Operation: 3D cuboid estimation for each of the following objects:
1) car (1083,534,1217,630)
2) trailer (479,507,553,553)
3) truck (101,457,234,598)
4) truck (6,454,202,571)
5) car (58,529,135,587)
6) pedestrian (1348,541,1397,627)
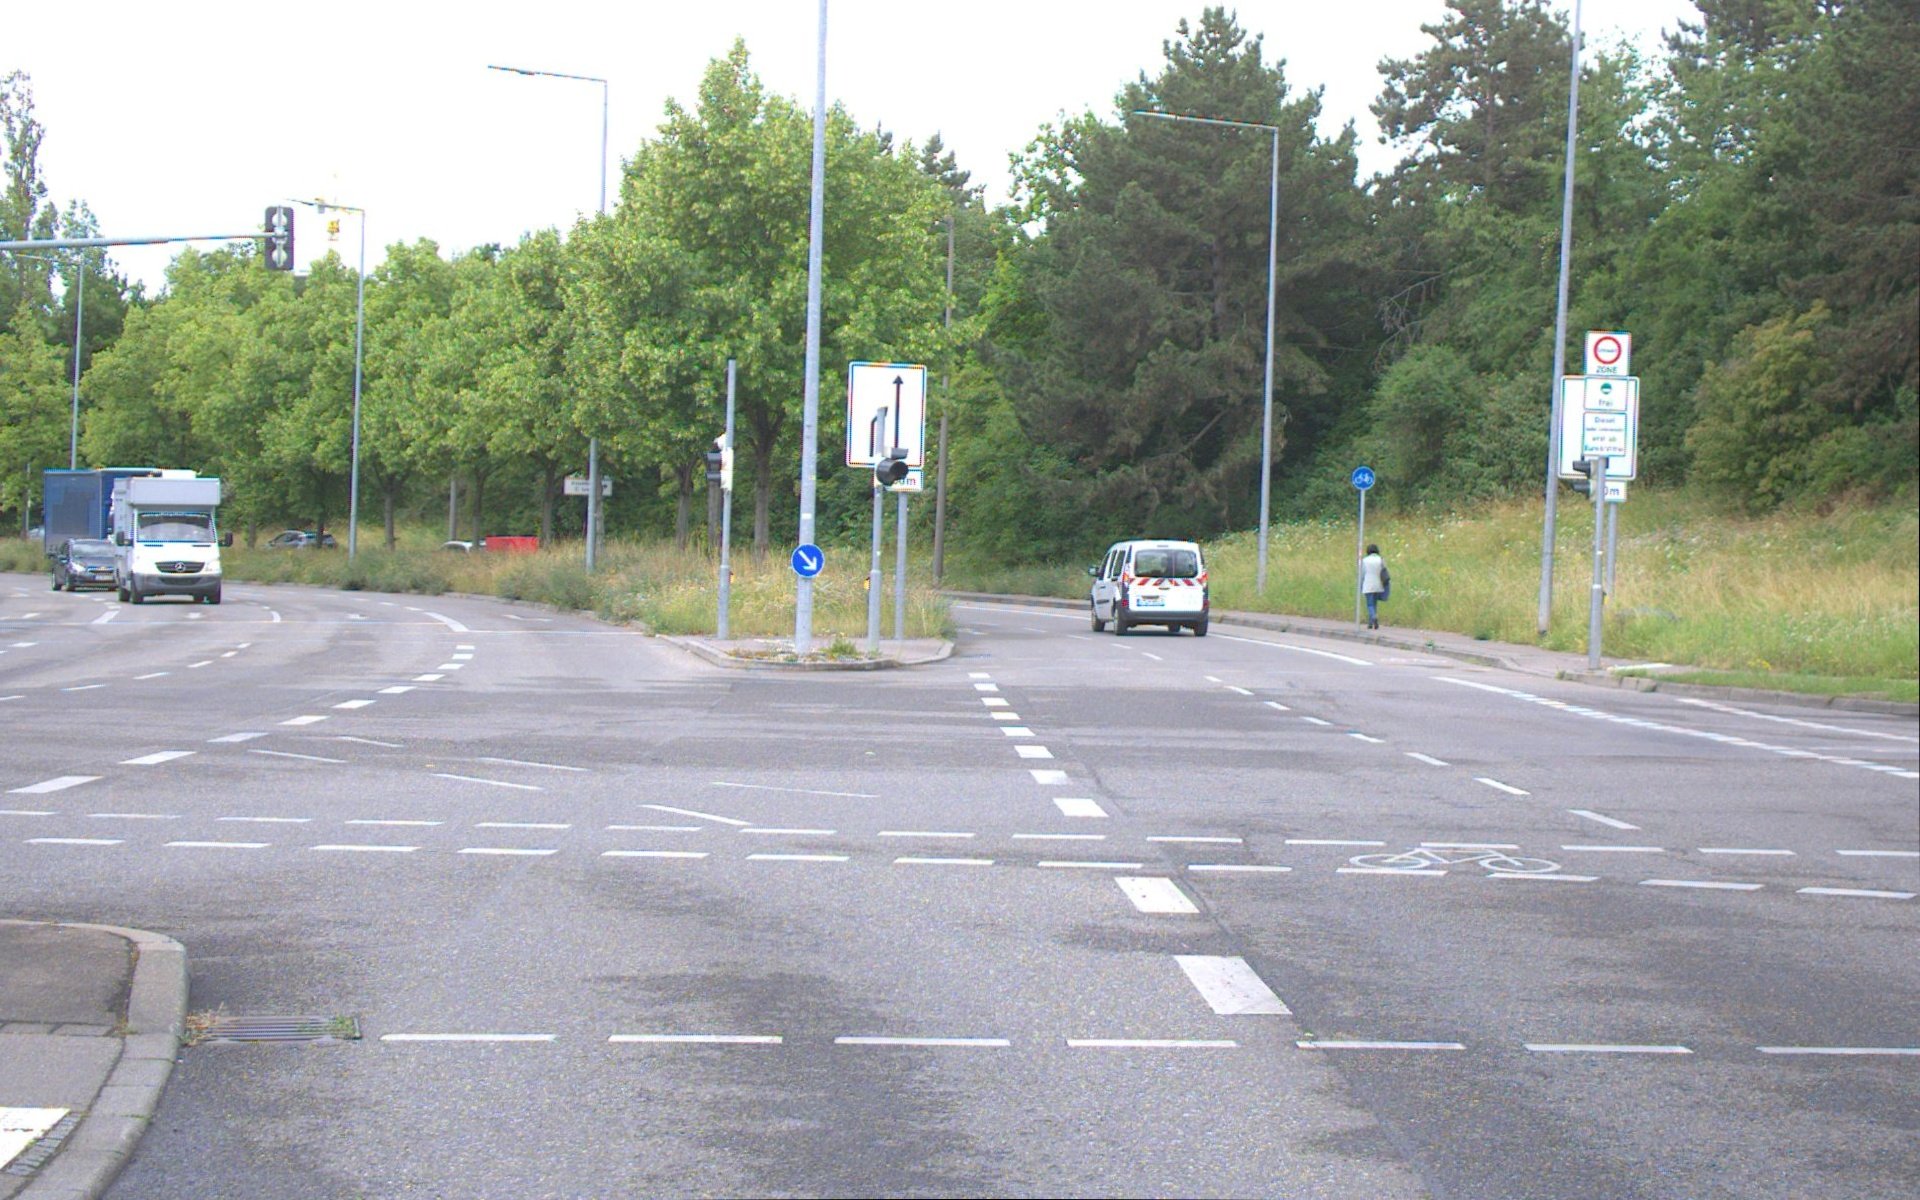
[{"bbox_3d":[3.640,-0.357,66.617,1.994,1.796,4.840,0,0,-4],"label":"car"},{"bbox_3d":[-15.888,-2.513,122.946,1.764,1.610,3.044,0,1,-26],"label":"trailer"},{"bbox_3d":[-18.358,-1.651,79.448,2.115,3.124,5.902,1,1,-21],"label":"truck"},{"bbox_3d":[-29.308,-2.917,117.177,3.048,3.747,12.814,1,1,-30],"label":"truck"},{"bbox_3d":[-24.520,-1.209,97.561,1.780,1.441,4.530,-1,3,-18],"label":"car"},{"bbox_3d":[7.889,-0.314,65.816,0.814,1.622,0.791,1,1,-1],"label":"pedestrian"}]
